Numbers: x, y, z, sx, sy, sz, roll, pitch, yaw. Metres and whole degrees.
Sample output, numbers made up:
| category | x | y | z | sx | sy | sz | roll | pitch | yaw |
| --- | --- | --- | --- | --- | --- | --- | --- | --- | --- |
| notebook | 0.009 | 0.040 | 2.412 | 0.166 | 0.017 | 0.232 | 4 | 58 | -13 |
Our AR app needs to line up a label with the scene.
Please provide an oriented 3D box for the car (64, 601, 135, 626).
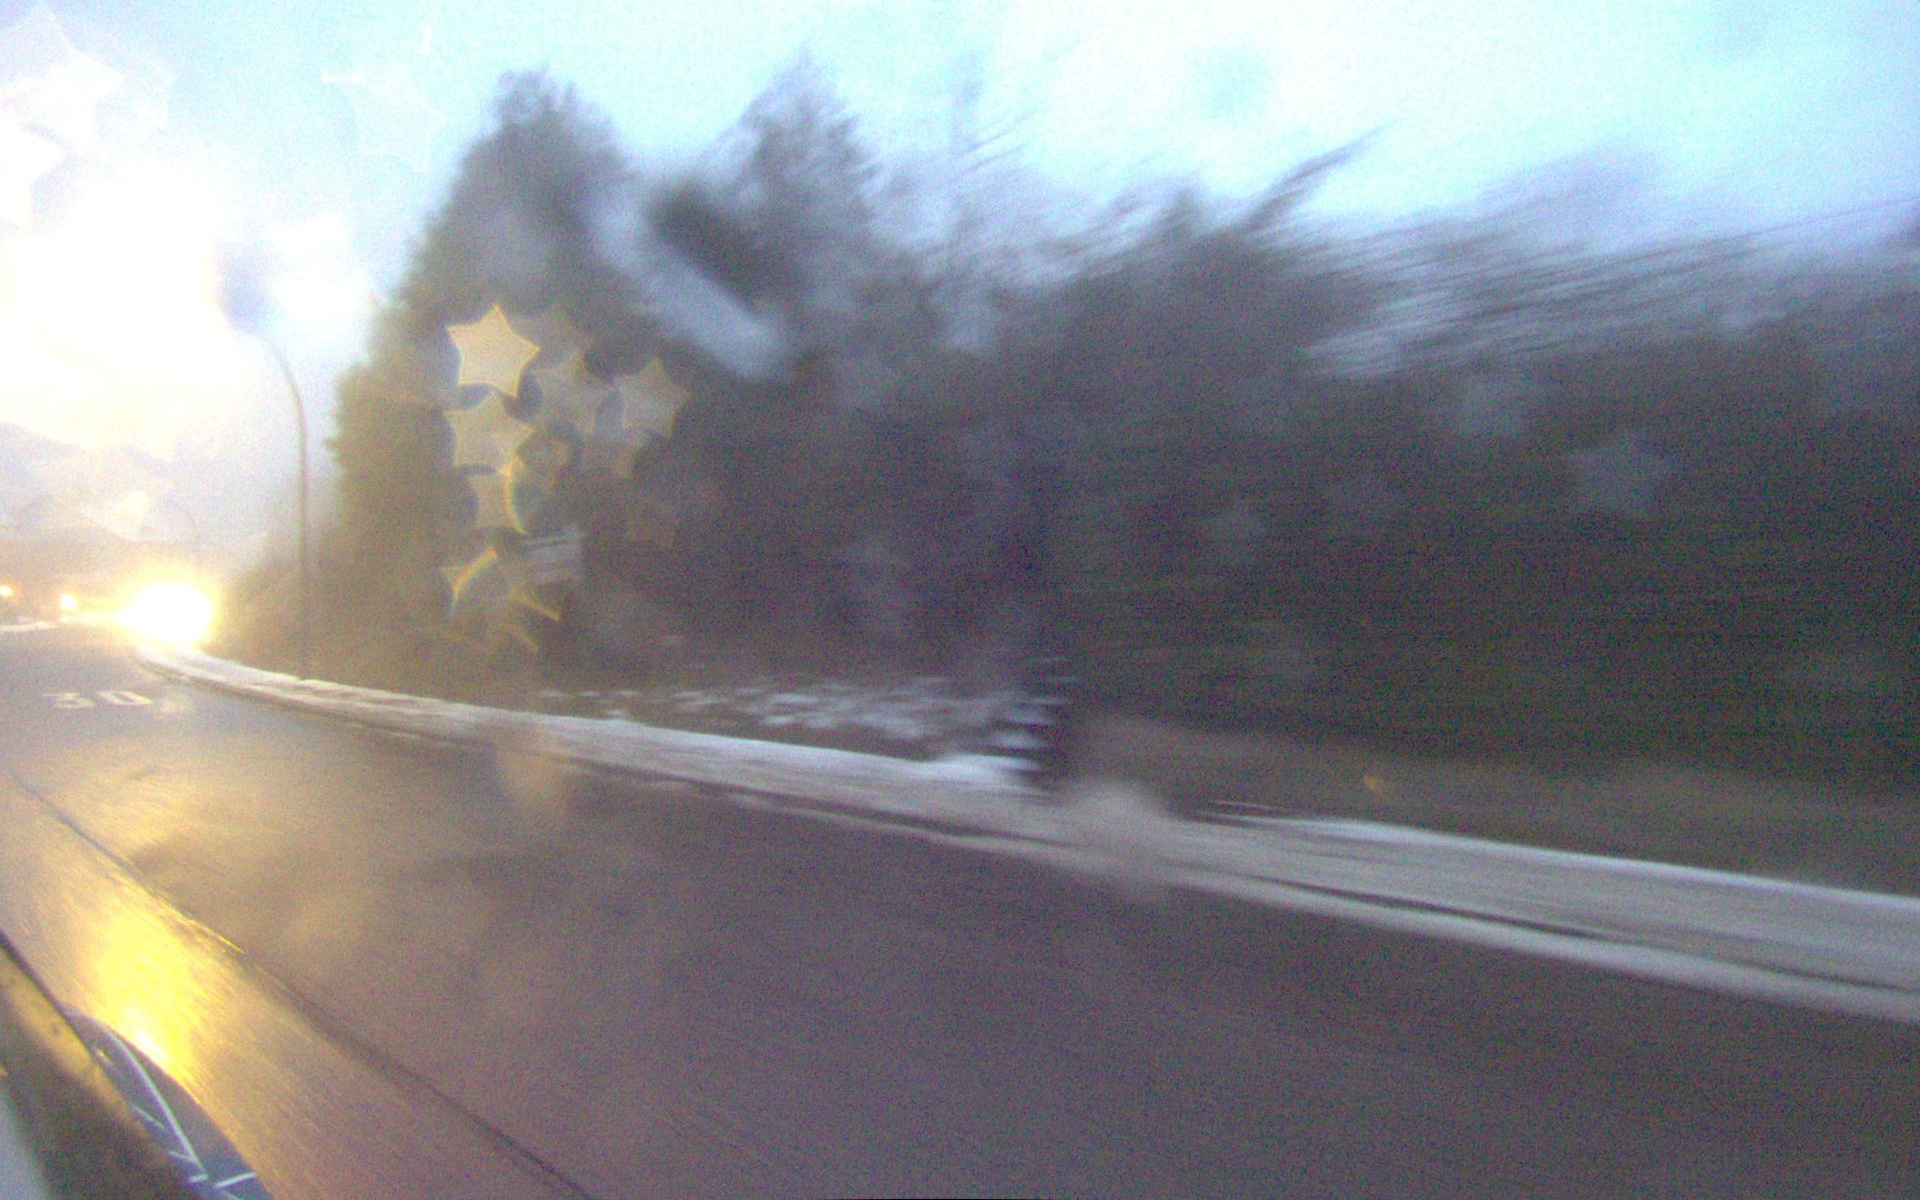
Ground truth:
| category | x | y | z | sx | sy | sz | roll | pitch | yaw |
| --- | --- | --- | --- | --- | --- | --- | --- | --- | --- |
| car | -73.027 | 1.169 | 85.962 | 4.149 | 1.872 | 1.917 | 3 | 0 | -14 |
